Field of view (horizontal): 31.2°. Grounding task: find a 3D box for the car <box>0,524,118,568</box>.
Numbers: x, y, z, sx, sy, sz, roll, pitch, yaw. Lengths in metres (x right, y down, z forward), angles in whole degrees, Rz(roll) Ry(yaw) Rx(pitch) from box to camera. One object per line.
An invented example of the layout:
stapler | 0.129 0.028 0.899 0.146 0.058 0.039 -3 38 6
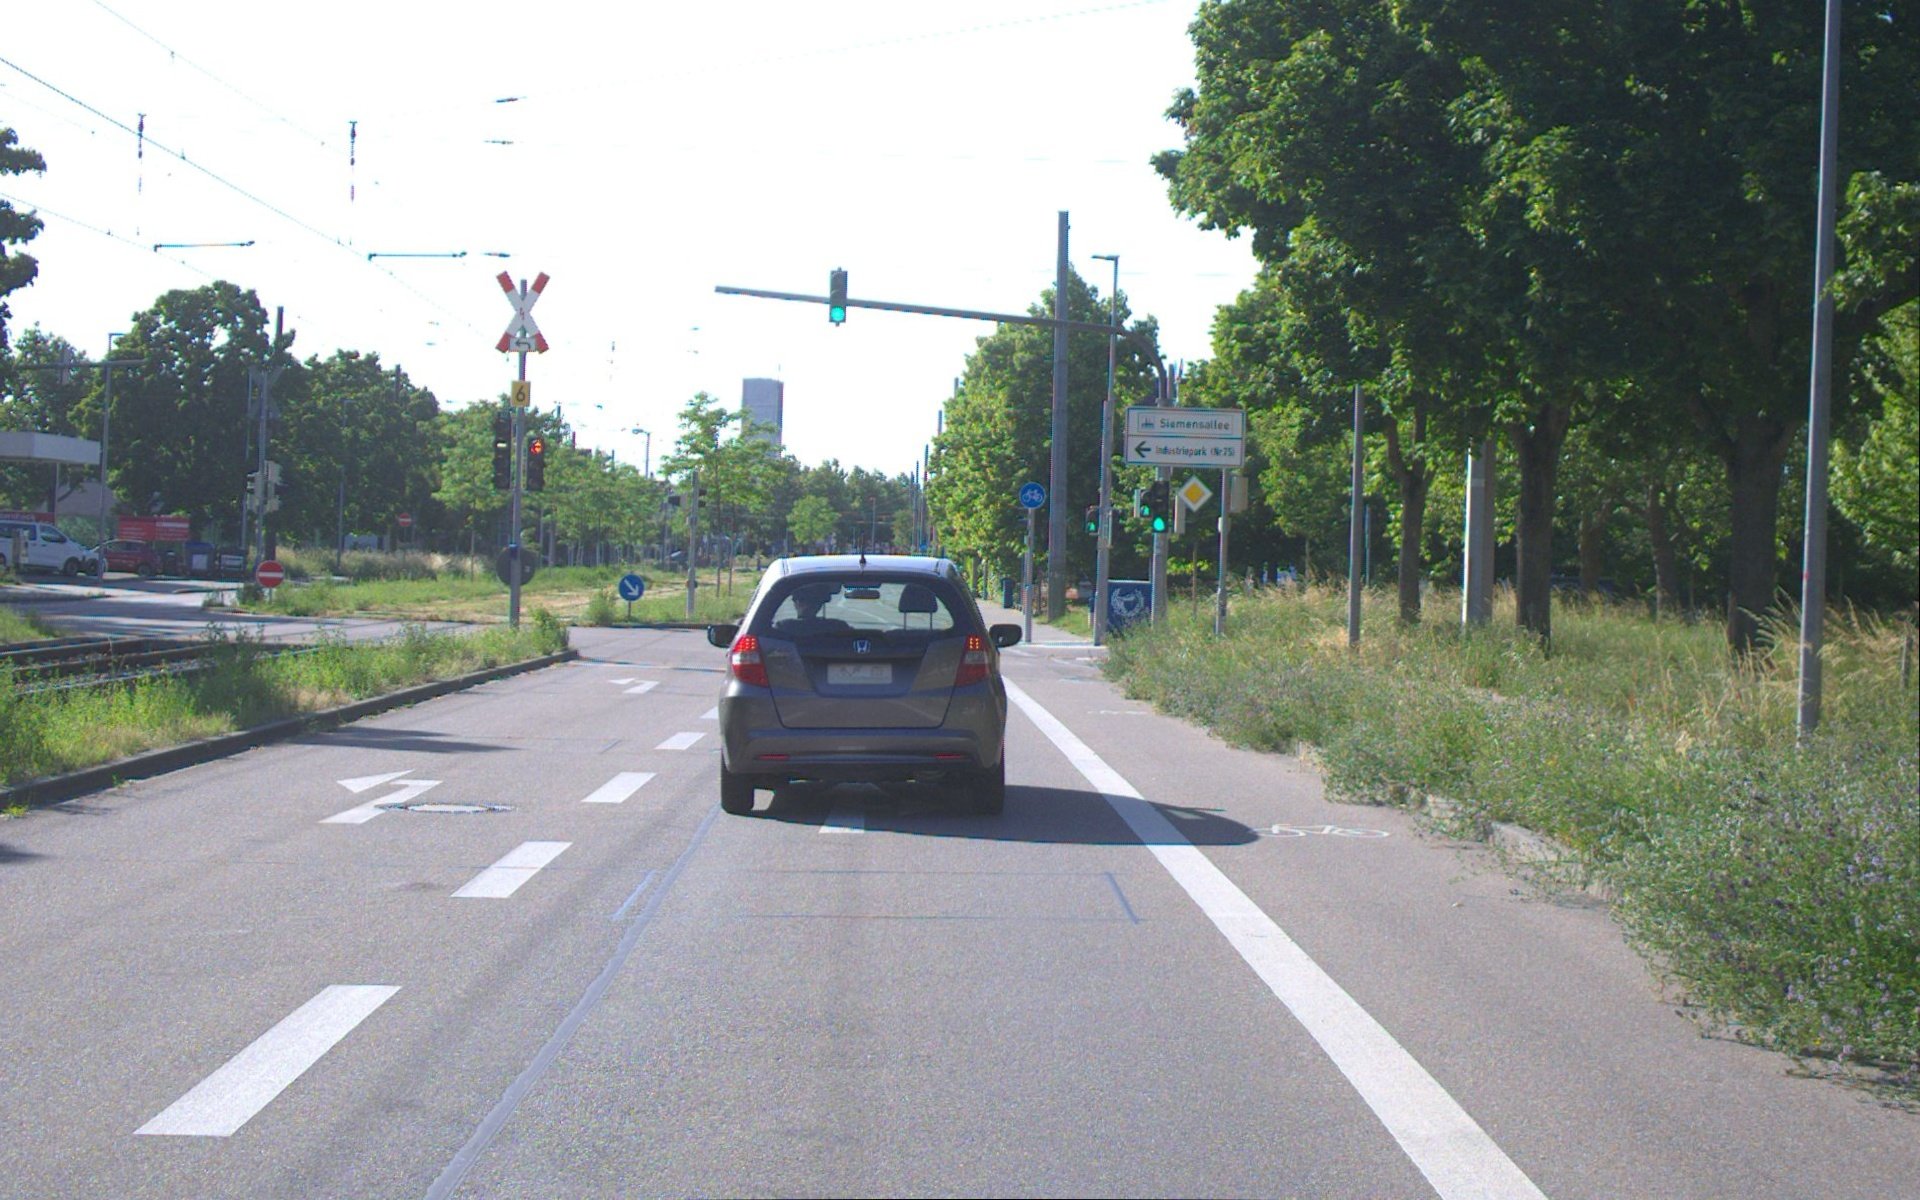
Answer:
car | -33.639 -2.012 127.655 1.790 1.523 4.461 2 1 36

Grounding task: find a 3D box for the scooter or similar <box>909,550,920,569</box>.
scooter or similar | -2.676 -2.382 202.094 0.539 1.114 1.417 2 0 -4

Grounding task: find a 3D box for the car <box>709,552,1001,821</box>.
car | -0.580 0.471 21.145 1.624 1.494 3.457 1 1 0

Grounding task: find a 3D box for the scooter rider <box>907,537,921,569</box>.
scooter rider | -2.713 -2.761 202.009 0.716 1.894 0.935 2 0 -4

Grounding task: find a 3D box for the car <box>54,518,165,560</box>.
car | -34.529 -2.475 139.608 4.070 1.563 1.792 2 1 -4

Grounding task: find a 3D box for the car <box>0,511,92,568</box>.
car | -33.605 -2.189 122.971 1.859 1.967 4.775 2 1 39

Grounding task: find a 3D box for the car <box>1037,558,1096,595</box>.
car | 4.107 -0.914 133.148 1.773 1.382 3.871 1 1 -5

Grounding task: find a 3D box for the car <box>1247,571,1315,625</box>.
car | 12.396 -0.089 133.167 1.872 1.960 5.167 3 1 -2
